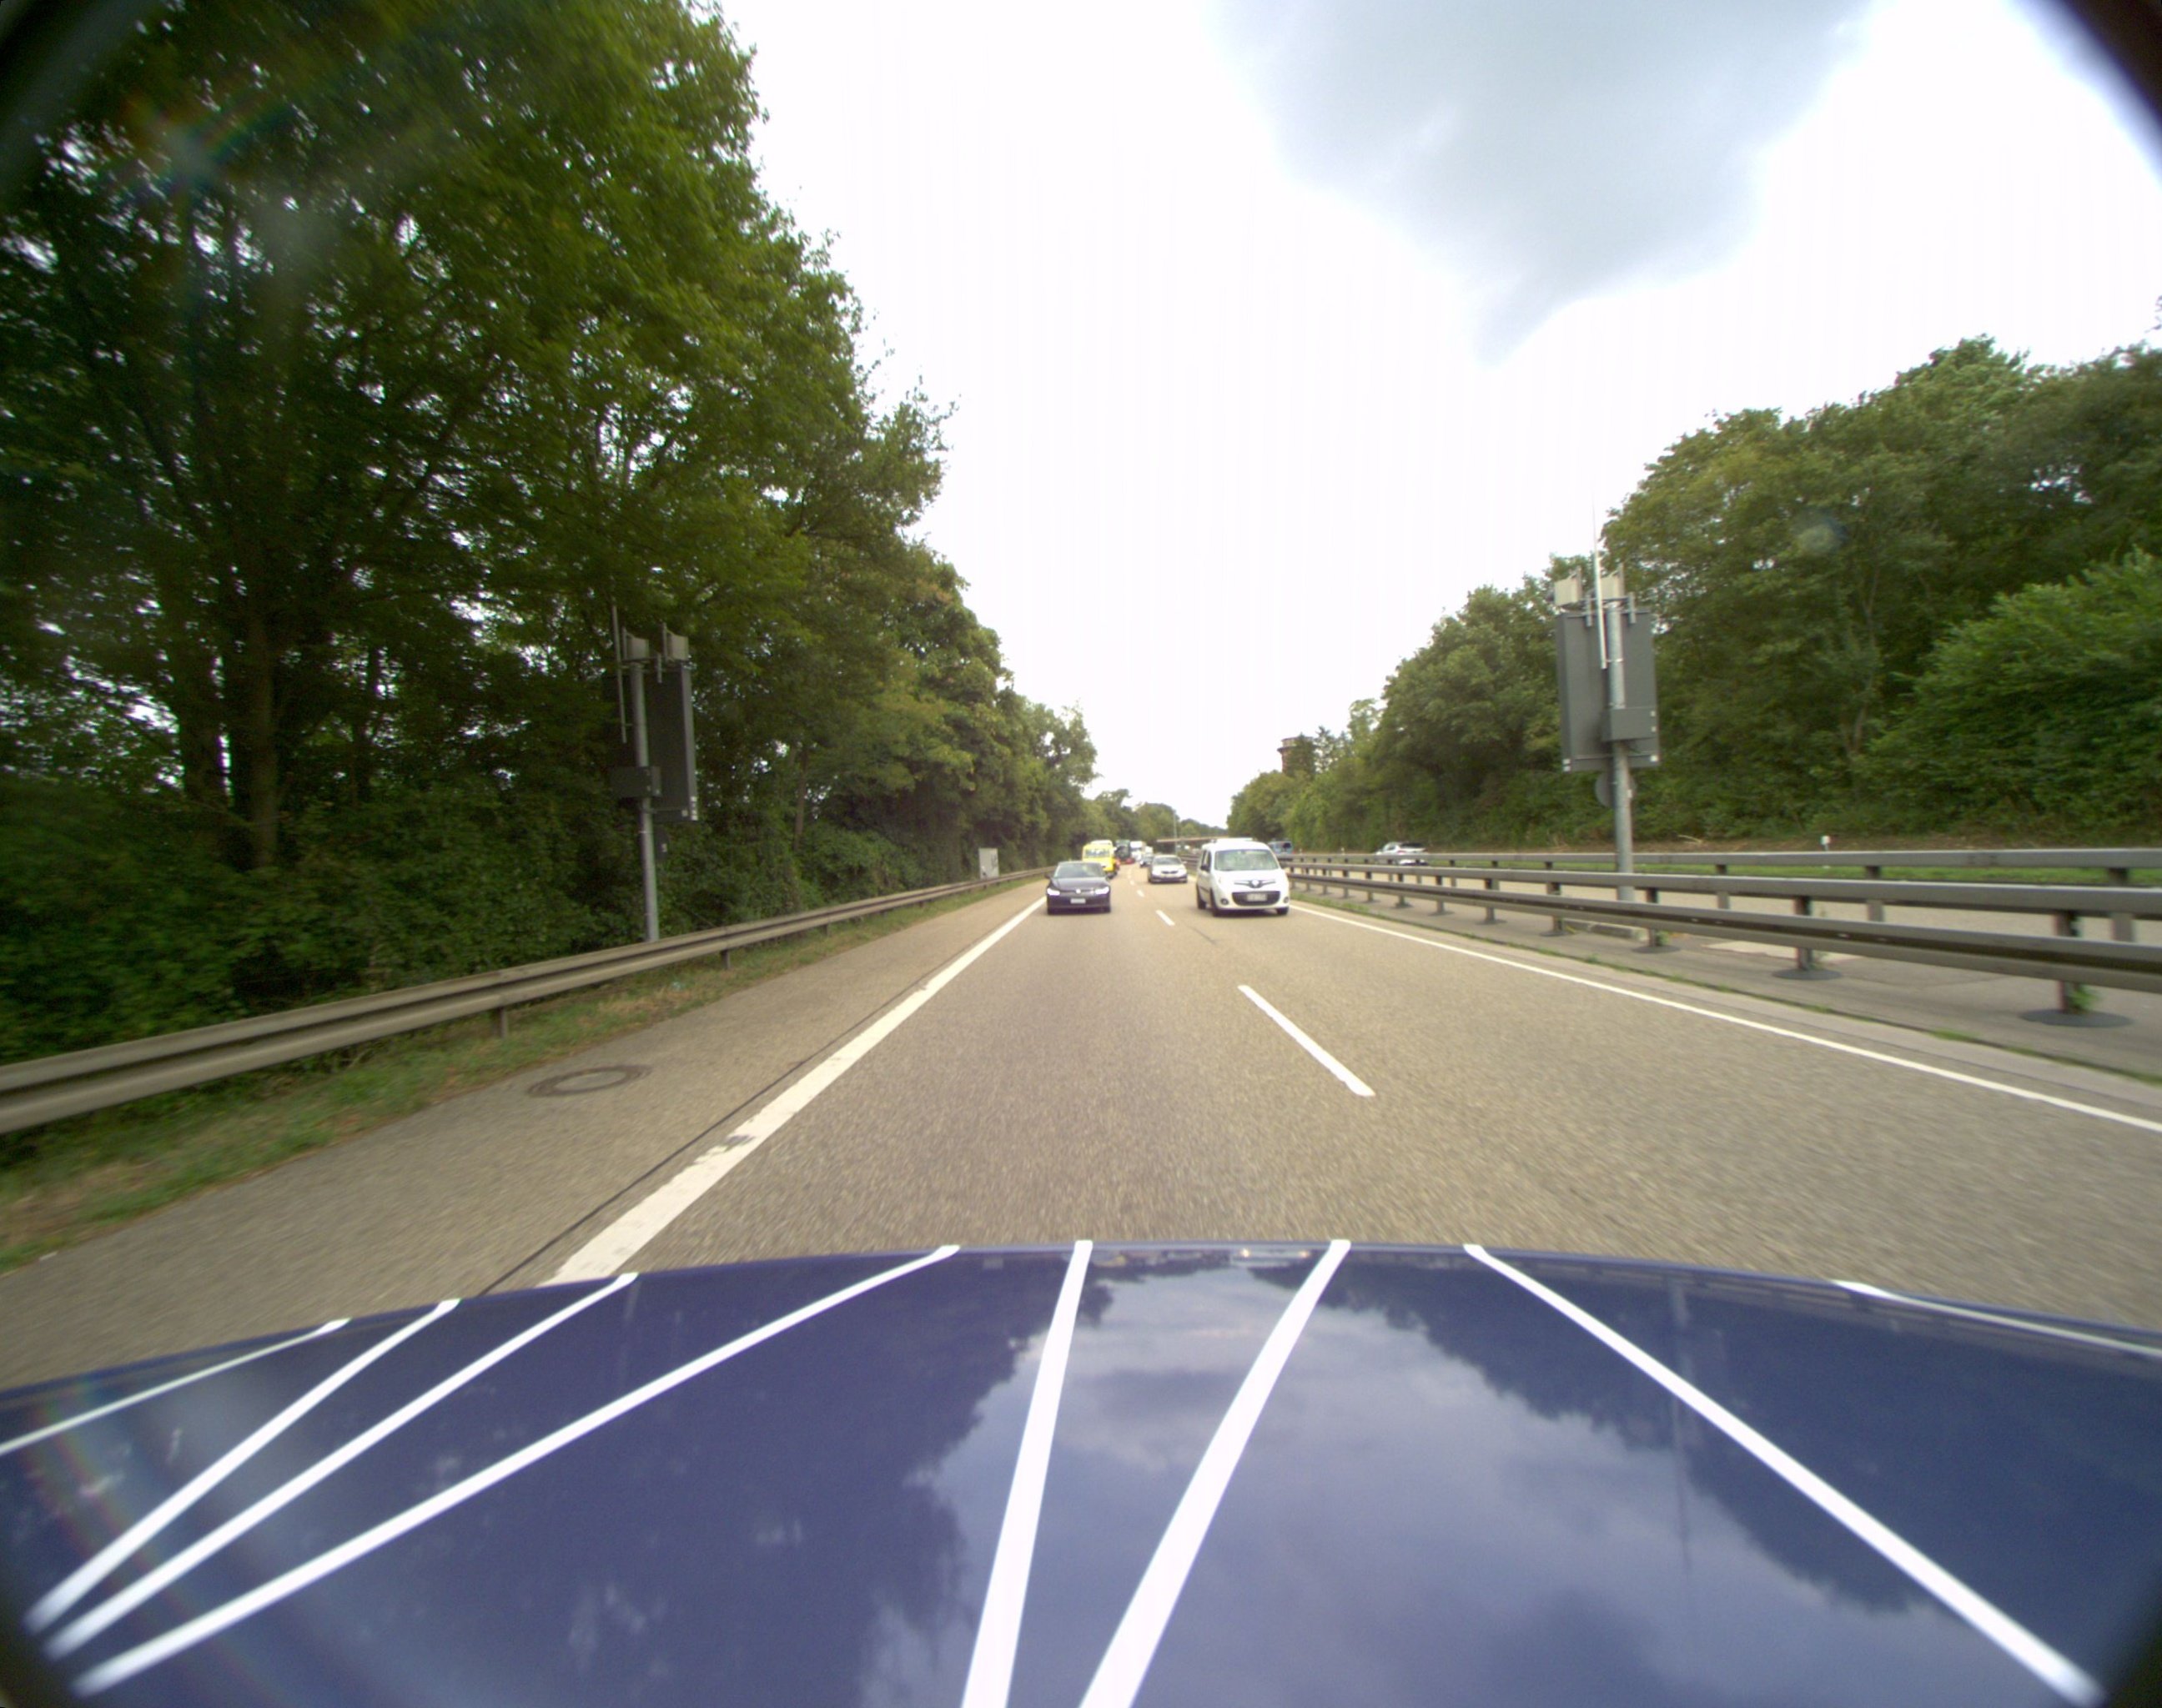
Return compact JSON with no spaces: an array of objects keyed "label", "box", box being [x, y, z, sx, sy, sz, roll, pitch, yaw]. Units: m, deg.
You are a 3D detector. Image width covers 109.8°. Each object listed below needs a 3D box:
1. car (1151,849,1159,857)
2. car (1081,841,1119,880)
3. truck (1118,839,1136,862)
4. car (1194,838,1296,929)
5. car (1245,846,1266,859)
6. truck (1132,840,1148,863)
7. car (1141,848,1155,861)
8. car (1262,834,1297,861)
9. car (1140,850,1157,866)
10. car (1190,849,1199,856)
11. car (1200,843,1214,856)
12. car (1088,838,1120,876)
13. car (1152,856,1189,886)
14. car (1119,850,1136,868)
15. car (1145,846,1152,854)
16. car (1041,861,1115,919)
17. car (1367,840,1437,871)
[{"label":"car","box":[16.799,-0.211,171.978,1.815,1.840,4.001,-1,0,5]},{"label":"car","box":[1.281,0.371,49.320,2.247,2.334,5.225,-1,0,3]},{"label":"truck","box":[7.365,-0.519,121.412,2.547,3.564,6.459,-1,0,6]},{"label":"car","box":[3.992,0.659,19.216,1.821,1.993,4.424,-1,0,3]},{"label":"car","box":[20.729,-0.174,90.338,1.698,1.458,4.090,-2,0,3]},{"label":"truck","box":[12.438,-0.586,159.265,3.098,4.462,12.214,-1,0,6]},{"label":"car","box":[9.188,0.021,104.487,1.677,1.763,3.938,-1,0,3]},{"label":"car","box":[18.216,-0.598,69.922,1.940,2.308,5.305,-1,0,2]},{"label":"car","box":[7.692,0.395,87.058,1.677,1.763,3.938,-1,0,3]},{"label":"car","box":[26.312,-0.363,176.536,1.786,1.554,4.015,-1,0,4]},{"label":"car","box":[24.439,-0.872,147.437,2.070,2.243,5.377,-1,0,5]},{"label":"car","box":[1.813,0.201,57.751,2.207,2.732,6.168,-1,0,3]},{"label":"car","box":[4.665,0.868,40.089,1.772,1.416,4.199,-1,0,5]},{"label":"car","box":[4.879,0.490,80.193,1.677,1.763,3.938,-1,0,3]},{"label":"car","box":[16.938,-1.075,189.577,1.680,1.840,4.001,-1,0,5]},{"label":"car","box":[0.022,0.967,22.123,1.800,1.398,4.640,-2,0,4]},{"label":"car","box":[16.638,0.085,39.627,1.998,1.472,4.131,-2,0,1]}]
